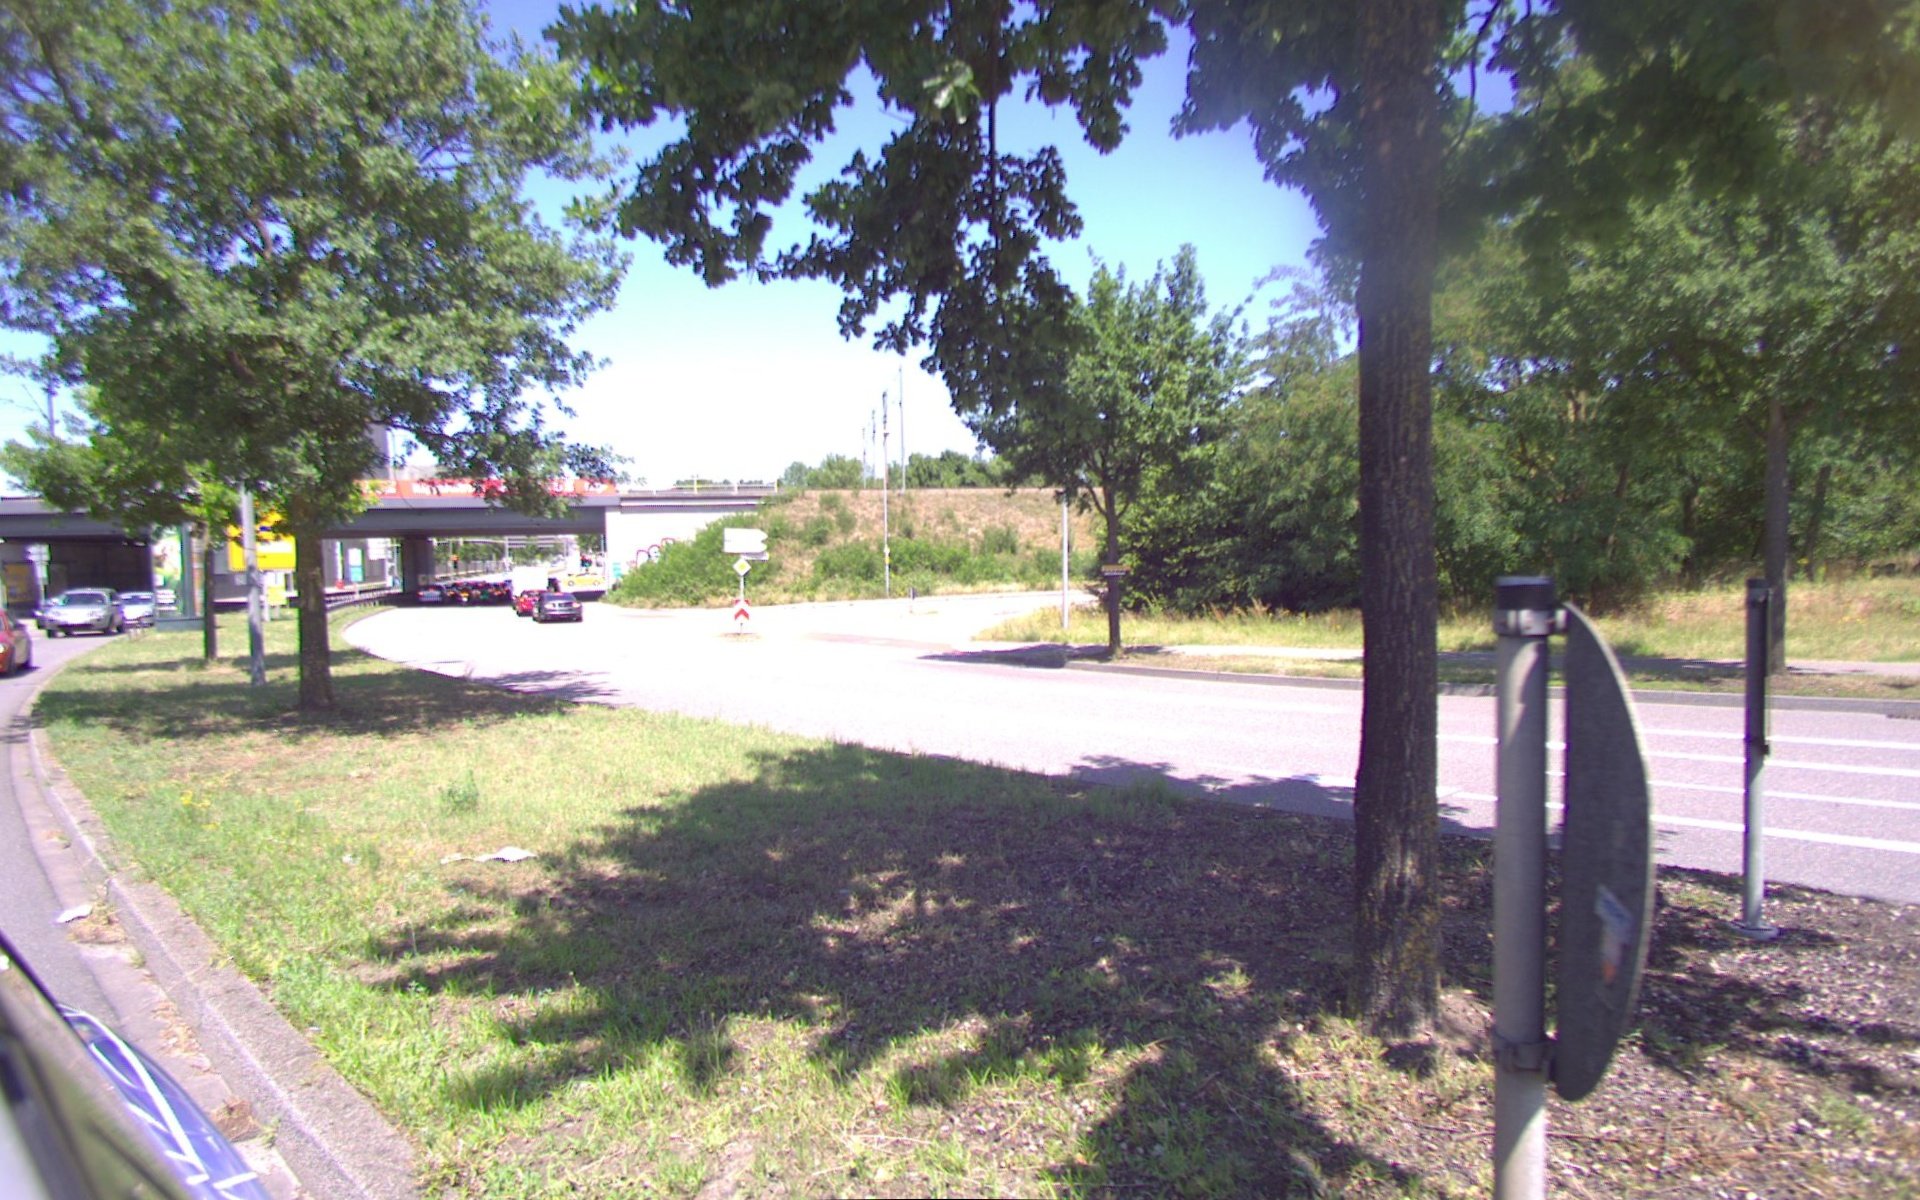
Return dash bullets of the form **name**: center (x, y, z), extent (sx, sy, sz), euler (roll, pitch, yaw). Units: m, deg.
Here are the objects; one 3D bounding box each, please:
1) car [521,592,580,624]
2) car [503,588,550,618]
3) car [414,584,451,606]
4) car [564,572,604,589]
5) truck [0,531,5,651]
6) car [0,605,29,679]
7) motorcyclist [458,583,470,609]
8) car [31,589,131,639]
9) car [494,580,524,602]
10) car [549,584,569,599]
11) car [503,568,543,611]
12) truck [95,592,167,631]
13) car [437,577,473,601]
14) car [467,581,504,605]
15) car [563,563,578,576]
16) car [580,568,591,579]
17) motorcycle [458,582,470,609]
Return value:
- **car**: center (-19.033, 0.337, 46.926), extent (1.785, 1.343, 4.583), euler (-2, 2, -32)
- **car**: center (-23.159, 0.148, 53.959), extent (1.805, 1.448, 4.540), euler (-2, 2, -29)
- **car**: center (-36.653, -0.368, 70.379), extent (1.611, 1.413, 4.235), euler (0, 1, -19)
- **car**: center (-42.775, -2.230, 115.146), extent (4.246, 1.873, 1.879), euler (-2, 2, -21)
- **truck**: center (-30.987, -0.514, 29.792), extent (5.739, 4.132, 2.550), euler (0, 1, 30)
- **car**: center (-20.530, 0.833, 20.944), extent (1.622, 1.409, 4.060), euler (0, 0, -40)
- **motorcyclist**: center (-32.314, -0.266, 65.932), extent (0.579, 1.638, 0.564), euler (-1, 2, -23)
- **car**: center (-32.559, 0.470, 37.606), extent (1.815, 1.708, 3.712), euler (-2, 2, -25)
- **car**: center (-40.066, -0.816, 89.970), extent (1.876, 1.873, 4.012), euler (-1, 2, -16)
- **car**: center (-36.018, -0.746, 90.928), extent (1.167, 1.257, 2.699), euler (-1, 2, -12)
- **car**: center (-27.335, -0.582, 63.197), extent (2.064, 2.519, 5.828), euler (-1, 0, -25)
- **truck**: center (-36.271, 0.466, 44.376), extent (1.702, 1.513, 4.013), euler (-2, 2, -29)
- **car**: center (-40.877, -0.890, 81.998), extent (1.876, 1.873, 4.012), euler (-1, 2, -16)
- **car**: center (-32.757, -0.461, 69.931), extent (1.612, 1.579, 4.084), euler (-1, 0, -15)
- **car**: center (-64.252, -4.964, 166.969), extent (1.966, 2.118, 6.403), euler (-1, 2, -17)
- **car**: center (-70.162, -5.032, 189.460), extent (1.678, 2.028, 4.013), euler (-1, 2, -18)
- **motorcycle**: center (-32.354, -0.309, 66.020), extent (0.589, 1.690, 2.433), euler (-1, 2, -23)
